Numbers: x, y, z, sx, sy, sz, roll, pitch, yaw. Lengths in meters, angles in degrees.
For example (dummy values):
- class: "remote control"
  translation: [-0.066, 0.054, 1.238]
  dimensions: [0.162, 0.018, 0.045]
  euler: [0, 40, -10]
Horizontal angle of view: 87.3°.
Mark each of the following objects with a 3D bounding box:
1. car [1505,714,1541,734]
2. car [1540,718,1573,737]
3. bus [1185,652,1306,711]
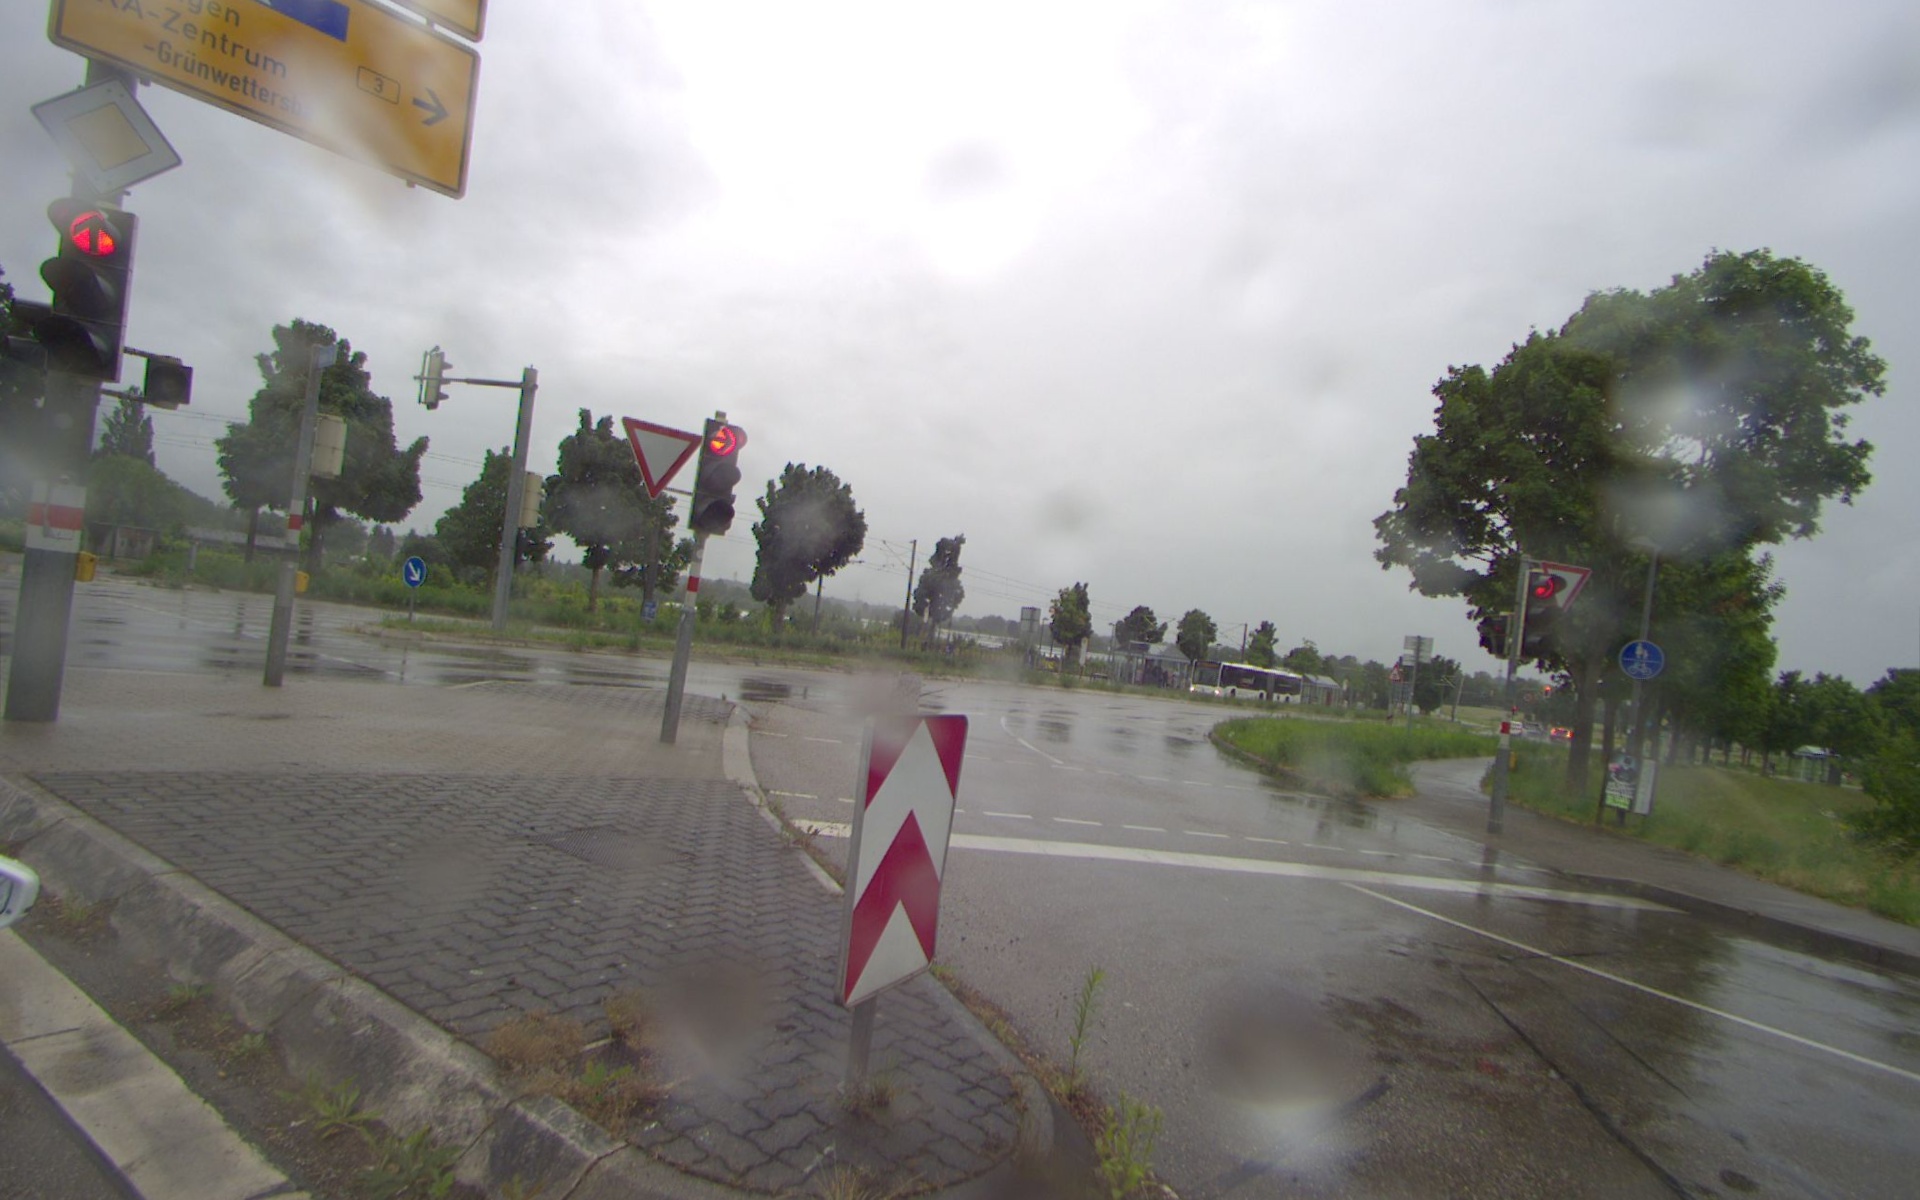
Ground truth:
- class: "car"
  translation: [46.711, 10.267, 83.411]
  dimensions: [1.853, 1.370, 4.036]
  euler: [6, -2, 40]
- class: "car"
  translation: [54.910, 11.728, 92.574]
  dimensions: [1.853, 1.370, 4.036]
  euler: [6, -2, 40]
- class: "bus"
  translation: [24.337, 7.024, 84.347]
  dimensions: [2.715, 3.828, 18.378]
  euler: [7, -2, 38]
